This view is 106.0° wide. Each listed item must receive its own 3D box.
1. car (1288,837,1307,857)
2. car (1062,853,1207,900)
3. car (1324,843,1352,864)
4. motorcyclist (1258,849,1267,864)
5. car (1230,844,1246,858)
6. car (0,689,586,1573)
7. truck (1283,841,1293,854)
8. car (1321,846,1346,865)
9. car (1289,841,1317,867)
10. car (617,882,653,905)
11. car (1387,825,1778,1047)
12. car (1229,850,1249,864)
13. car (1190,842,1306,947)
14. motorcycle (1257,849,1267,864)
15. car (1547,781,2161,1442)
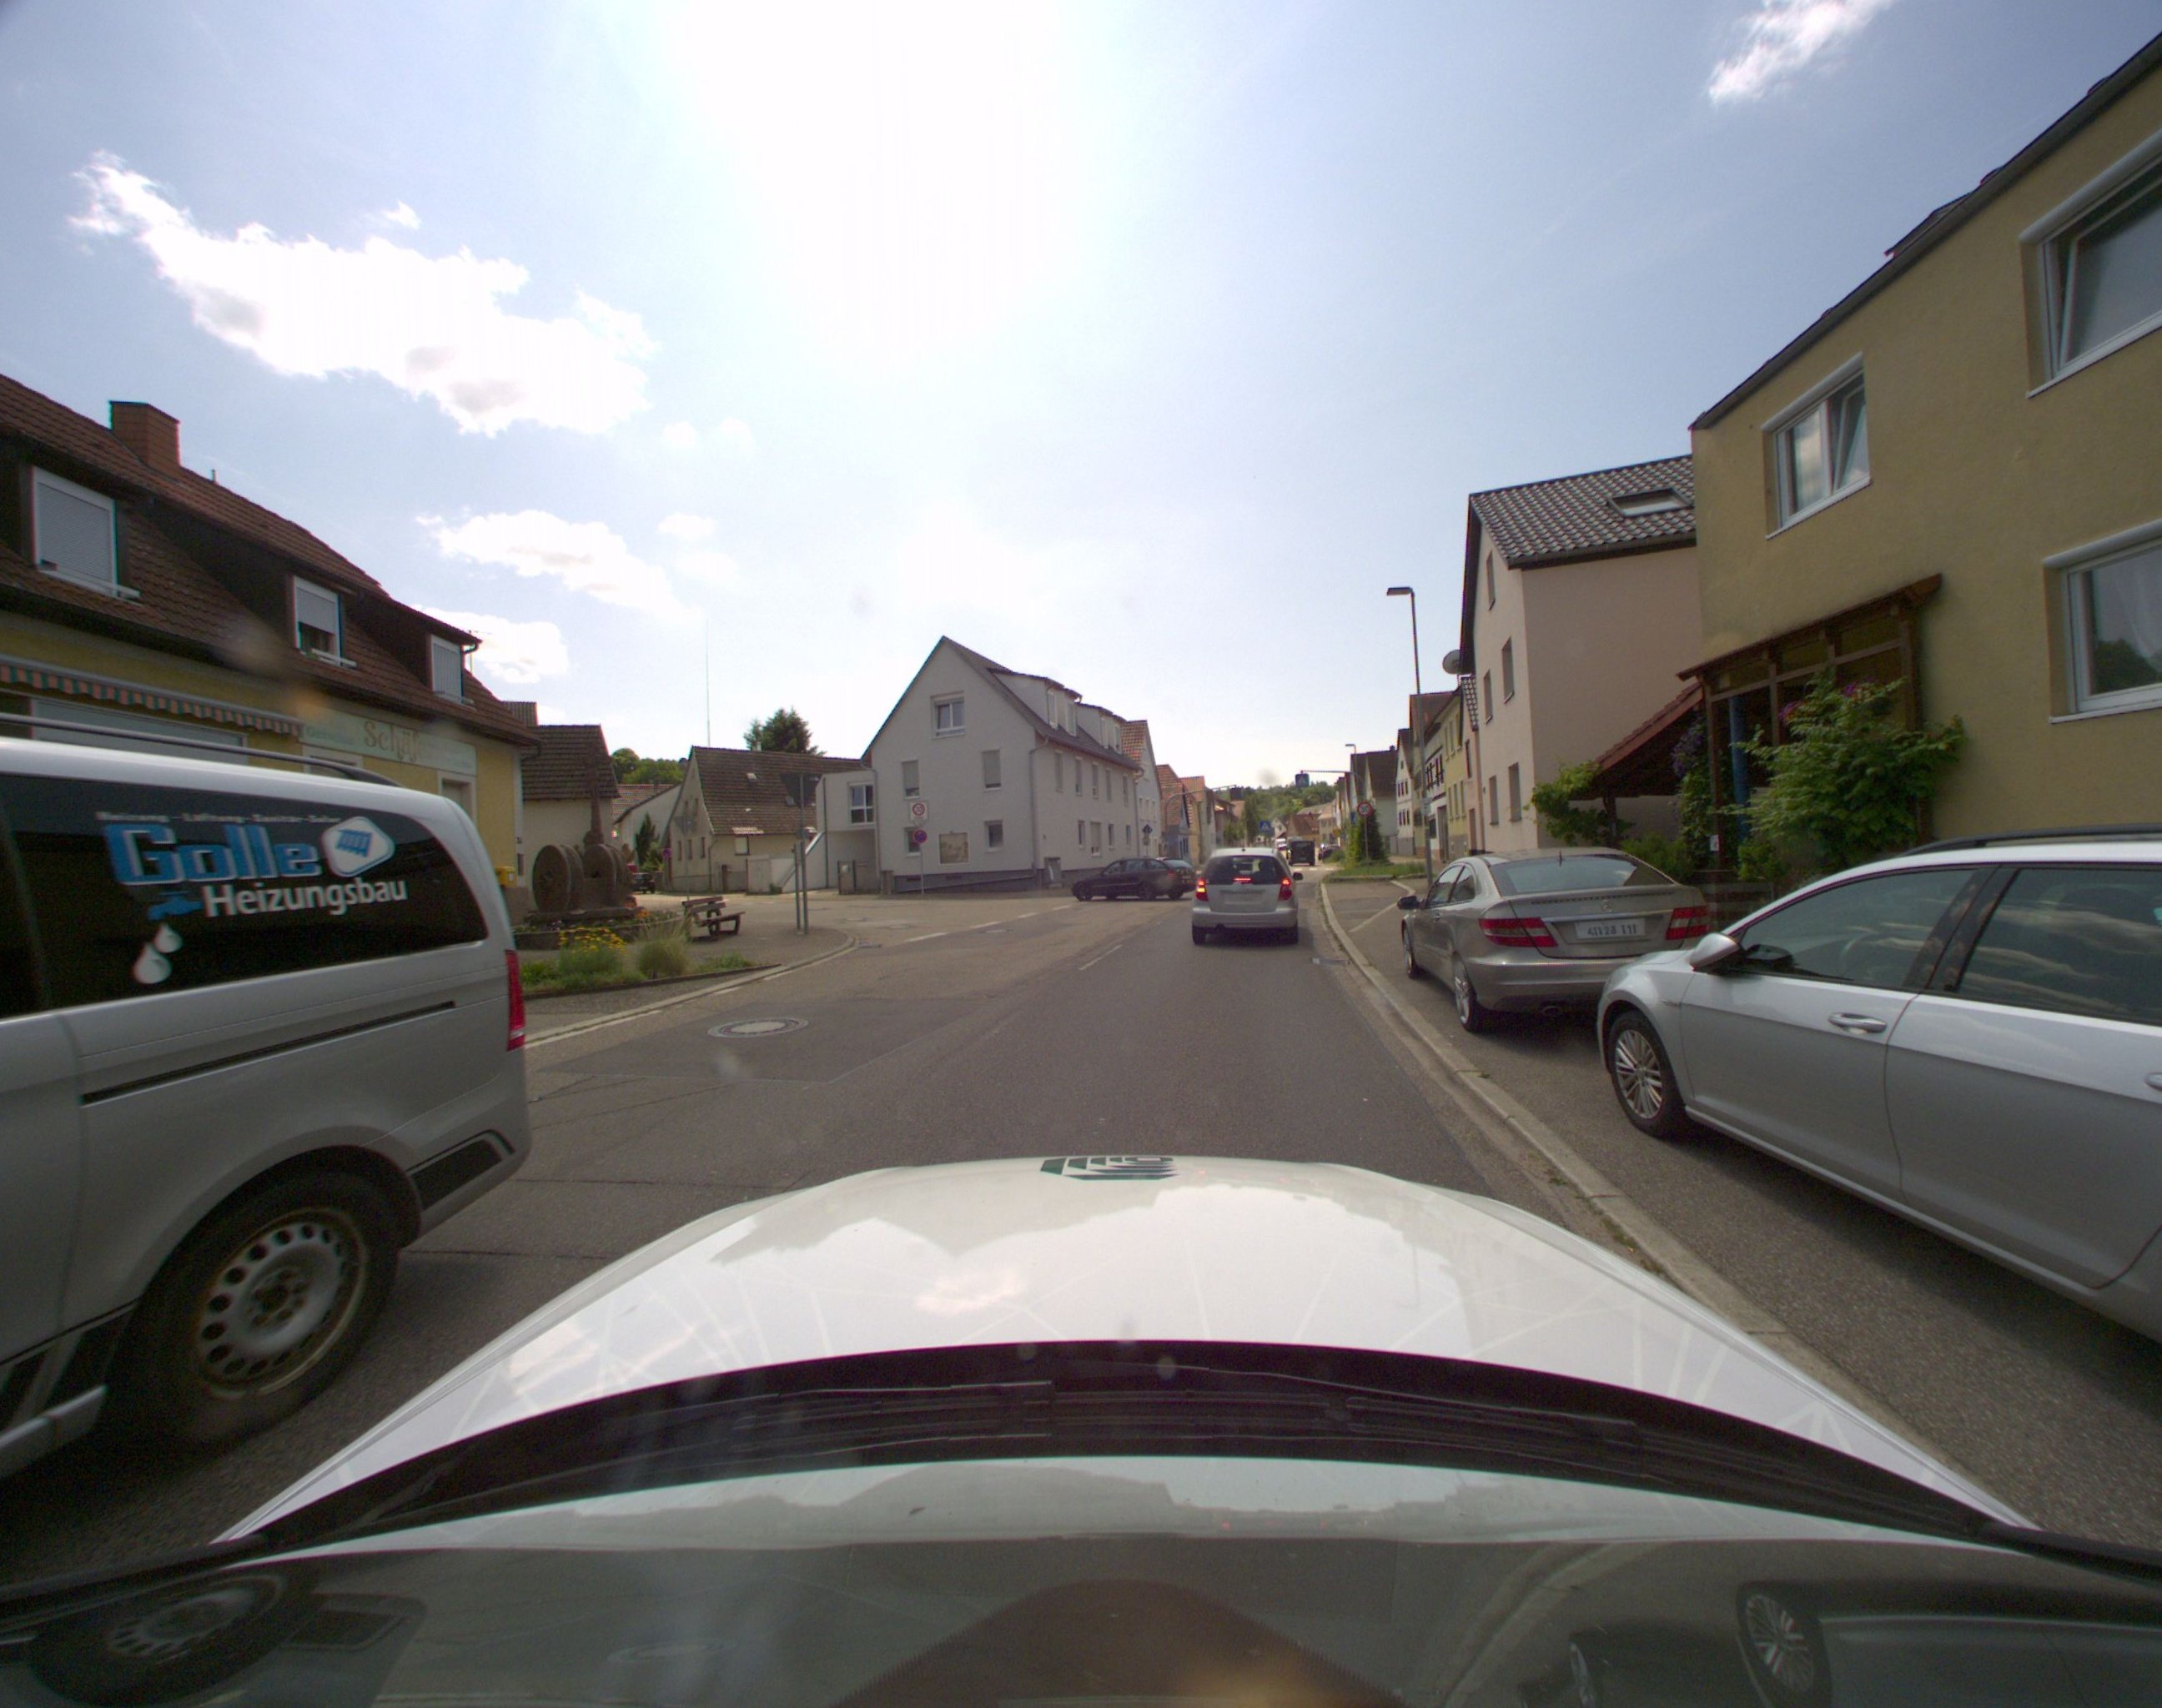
[{"bbox_3d":[24.742,-0.787,93.211,1.979,2.014,4.015,-2,-2,15],"label":"car"},{"bbox_3d":[1.703,0.775,26.904,4.577,1.412,1.825,-3,-2,40],"label":"car"},{"bbox_3d":[20.815,-0.028,66.004,1.979,1.508,4.016,-2,-2,15],"label":"car"},{"bbox_3d":[19.247,0.278,86.439,0.889,1.554,0.810,-2,0,15],"label":"motorcyclist"},{"bbox_3d":[19.939,-0.375,103.294,1.655,1.596,4.016,-2,-2,15],"label":"car"},{"bbox_3d":[-3.229,0.516,0.922,1.985,1.800,4.940,2,-2,4],"label":"car"},{"bbox_3d":[44.983,-1.386,176.556,1.979,2.537,6.765,-2,-2,14],"label":"truck"},{"bbox_3d":[22.408,0.132,72.333,1.979,1.508,4.016,-2,-2,15],"label":"car"},{"bbox_3d":[17.004,0.015,62.530,1.979,1.816,4.015,-2,-2,14],"label":"car"},{"bbox_3d":[-30.834,2.732,56.280,1.499,1.530,3.434,0,-3,-42],"label":"car"},{"bbox_3d":[4.184,0.621,7.724,1.758,1.400,4.440,-5,-2,13],"label":"car"},{"bbox_3d":[16.528,0.379,85.374,1.981,1.321,3.718,-2,-2,10],"label":"car"},{"bbox_3d":[3.065,0.649,14.831,1.798,1.643,3.742,-1,0,13],"label":"car"},{"bbox_3d":[19.206,0.257,86.379,0.874,1.561,1.975,-2,0,15],"label":"motorcycle"},{"bbox_3d":[3.467,0.536,2.487,1.875,1.530,4.343,-5,-1,6],"label":"car"}]
